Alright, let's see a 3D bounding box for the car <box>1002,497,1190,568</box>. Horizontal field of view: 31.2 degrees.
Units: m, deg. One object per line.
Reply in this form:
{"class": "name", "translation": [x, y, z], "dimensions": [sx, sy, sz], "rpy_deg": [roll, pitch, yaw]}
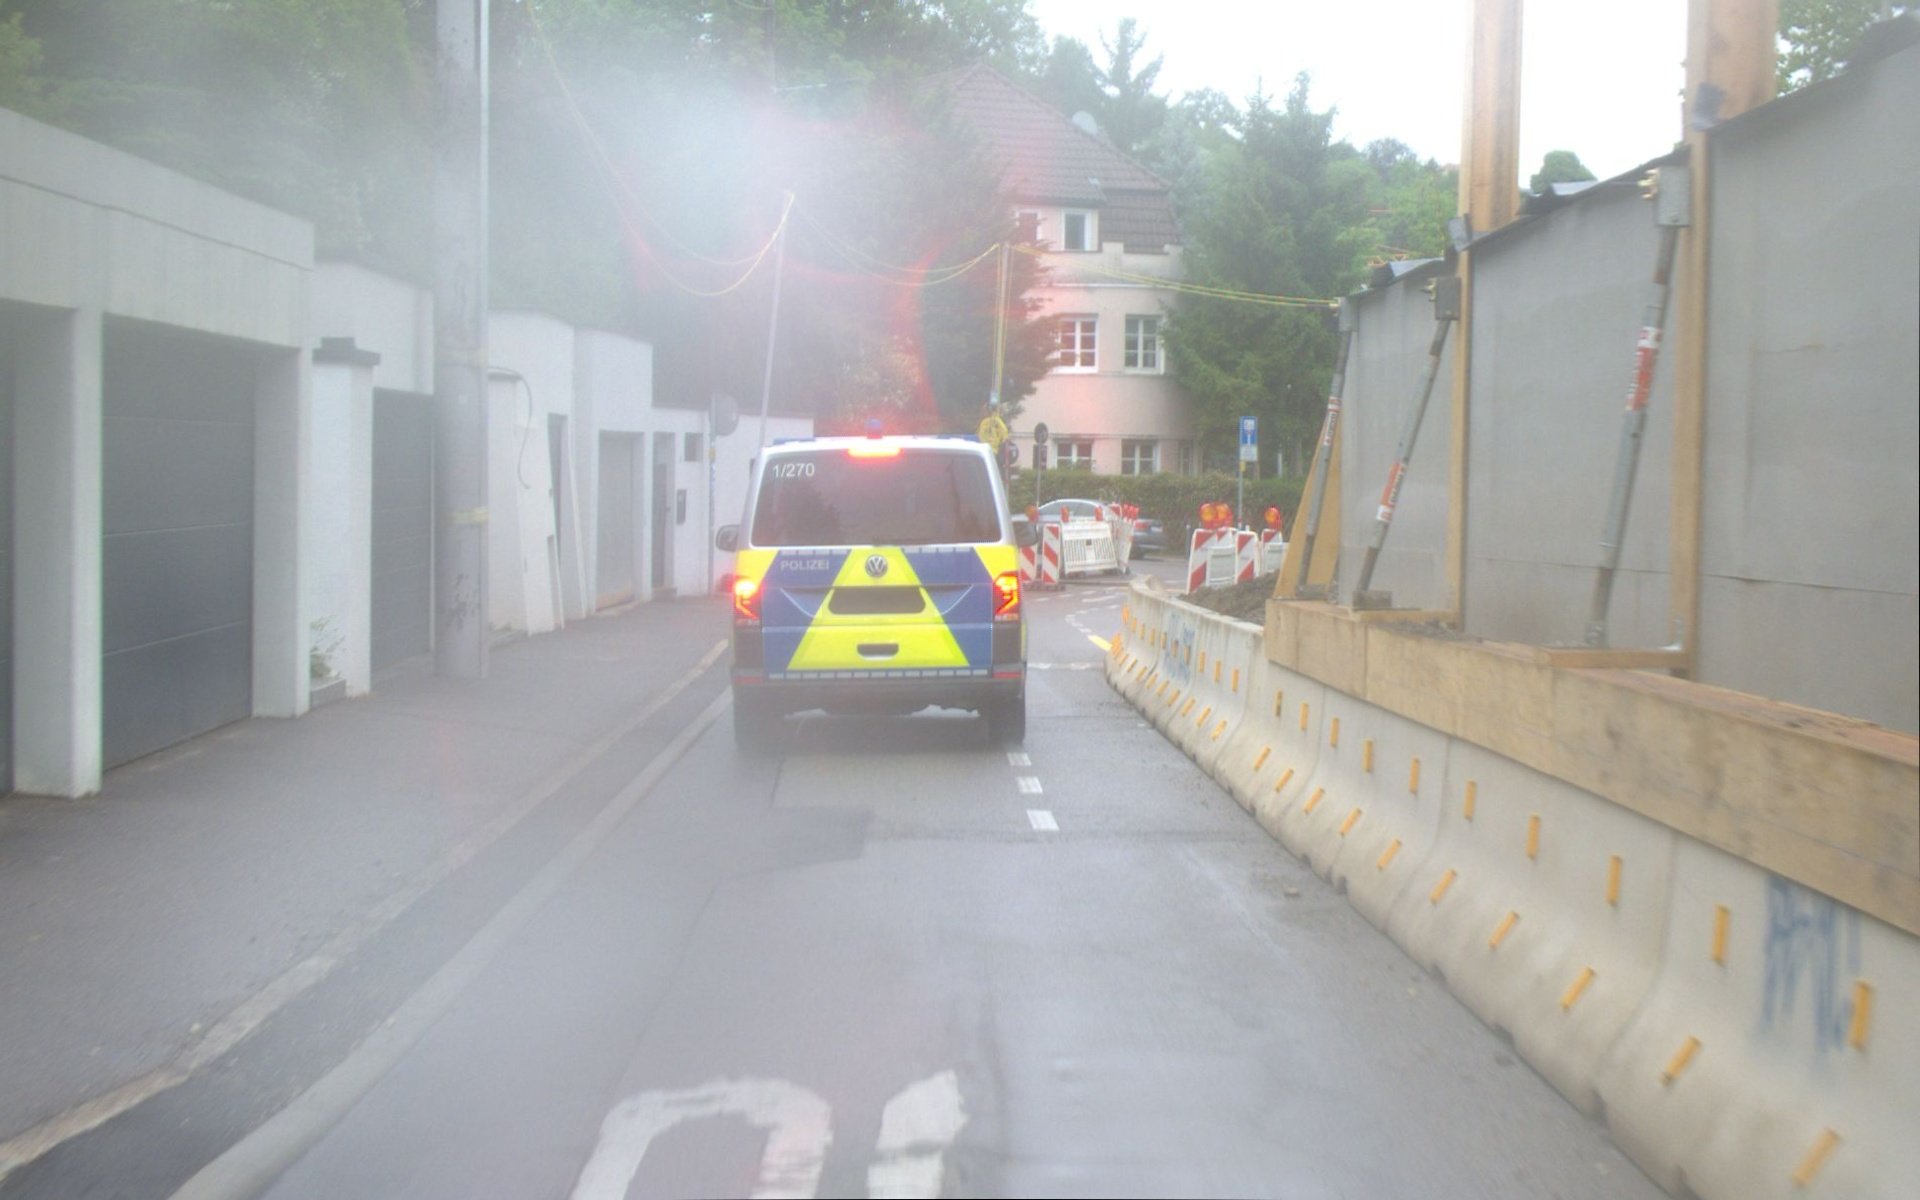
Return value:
{"class": "car", "translation": [3.176, -1.576, 80.307], "dimensions": [3.994, 1.512, 1.725], "rpy_deg": [3, 1, 30]}

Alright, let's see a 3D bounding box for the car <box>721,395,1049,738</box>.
{"class": "car", "translation": [-0.506, -0.244, 22.986], "dimensions": [1.908, 2.003, 4.440], "rpy_deg": [2, 1, -1]}
